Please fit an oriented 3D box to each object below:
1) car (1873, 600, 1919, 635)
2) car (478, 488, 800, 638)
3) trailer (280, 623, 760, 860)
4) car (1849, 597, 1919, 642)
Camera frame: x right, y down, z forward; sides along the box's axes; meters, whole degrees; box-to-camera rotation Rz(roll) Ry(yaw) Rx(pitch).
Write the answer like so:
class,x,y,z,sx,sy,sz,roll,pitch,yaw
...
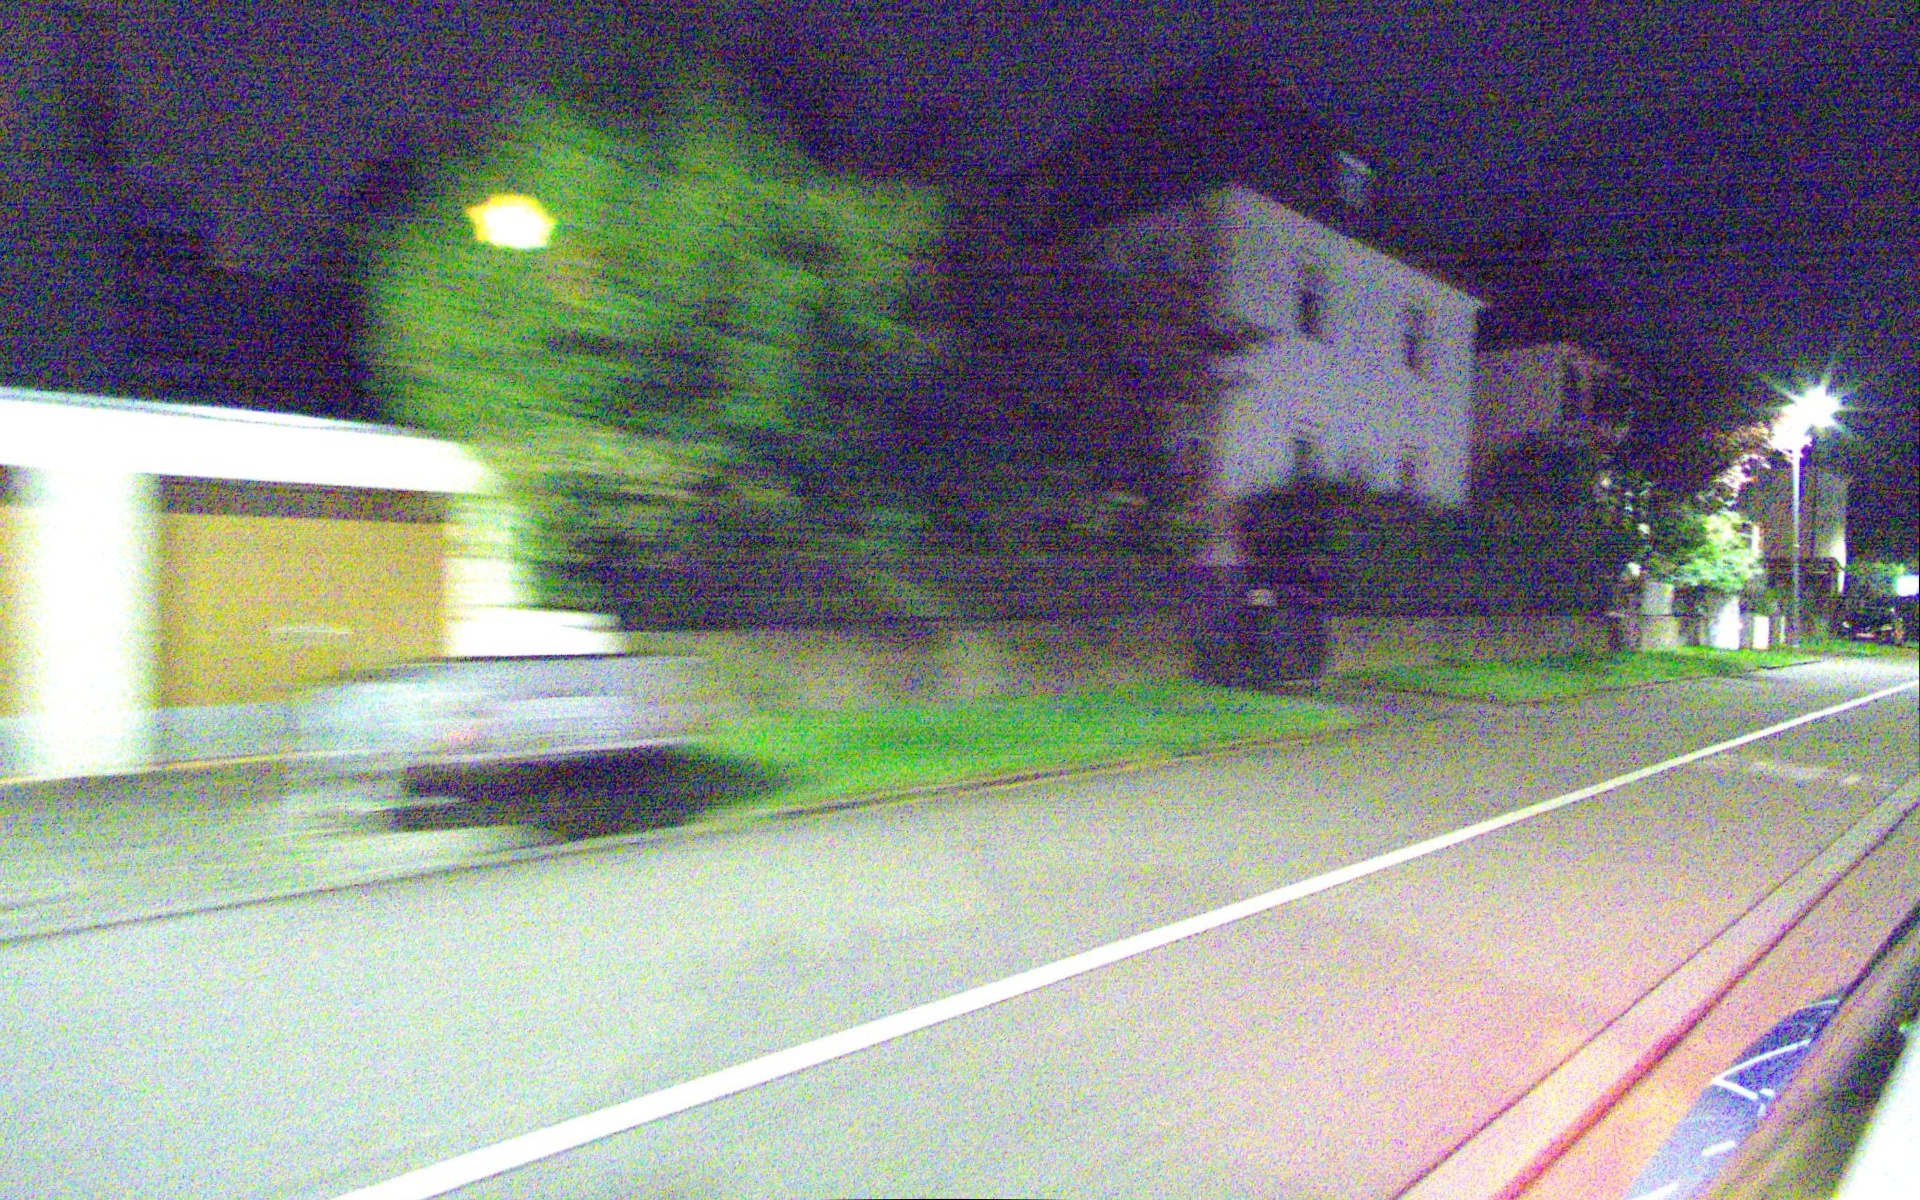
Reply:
class,x,y,z,sx,sy,sz,roll,pitch,yaw
car,45.760,0.916,47.596,1.800,1.504,3.914,1,3,-40
car,-4.973,-0.515,16.028,4.426,2.039,1.997,1,1,-41
trailer,-2.960,0.671,6.435,1.919,1.015,3.438,0,-1,-40
car,35.615,0.739,38.900,3.614,1.579,1.643,1,2,-41
